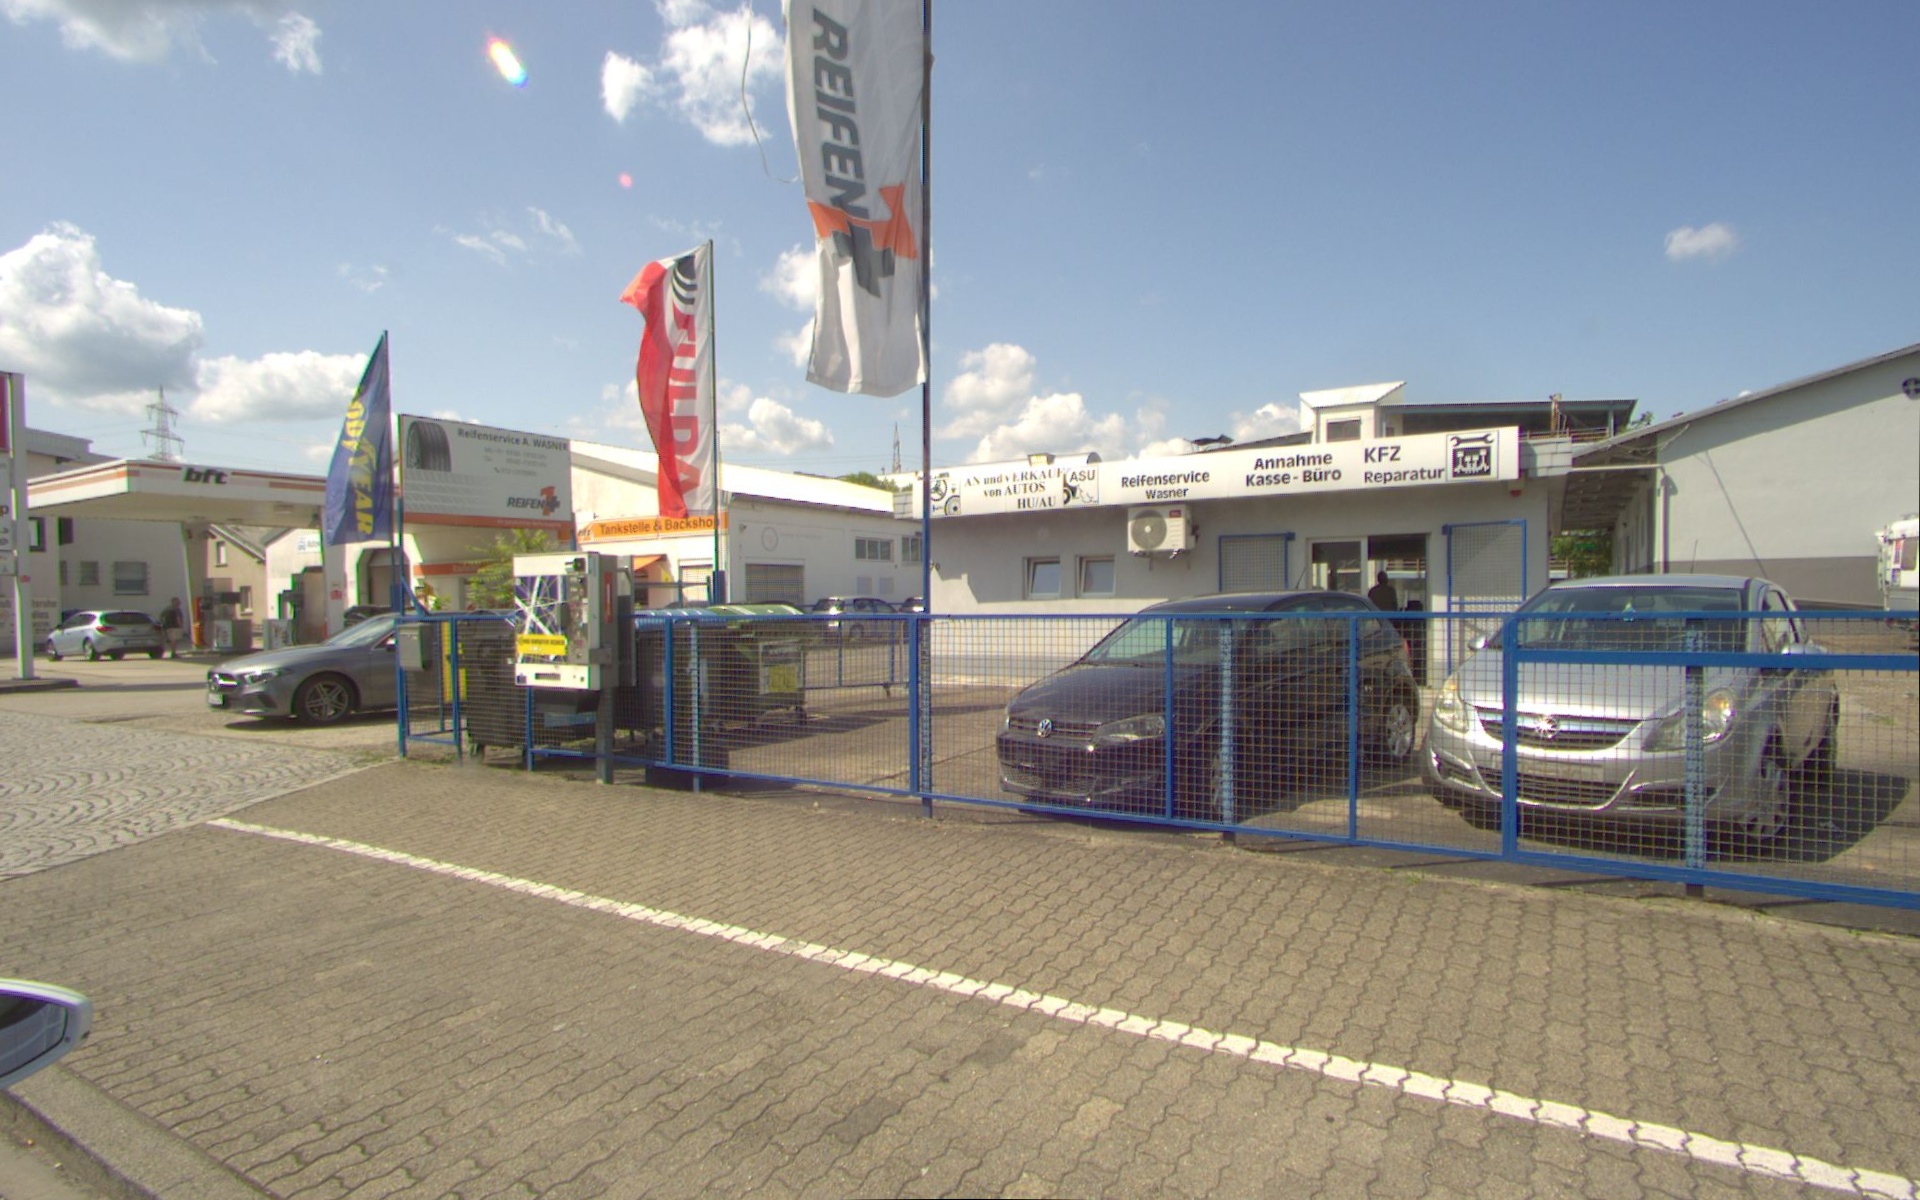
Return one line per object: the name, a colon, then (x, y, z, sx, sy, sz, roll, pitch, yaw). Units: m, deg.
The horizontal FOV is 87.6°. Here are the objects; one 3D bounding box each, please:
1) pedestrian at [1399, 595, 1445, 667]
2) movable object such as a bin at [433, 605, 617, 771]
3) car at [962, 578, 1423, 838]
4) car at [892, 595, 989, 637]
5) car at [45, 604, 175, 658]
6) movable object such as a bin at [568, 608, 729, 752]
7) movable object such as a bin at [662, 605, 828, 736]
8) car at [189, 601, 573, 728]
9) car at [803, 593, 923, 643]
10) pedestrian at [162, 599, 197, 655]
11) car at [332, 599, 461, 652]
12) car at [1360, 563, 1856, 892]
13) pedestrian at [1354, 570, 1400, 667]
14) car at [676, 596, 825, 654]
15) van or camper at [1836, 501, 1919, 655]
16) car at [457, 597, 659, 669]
pedestrian: (8.046, 0.532, 17.437, 0.654, 1.225, 0.563, 0, 1, 34)
movable object such as a bin: (-4.160, 0.785, 9.606, 1.225, 1.455, 1.106, 0, 1, 31)
car: (1.897, 0.601, 7.508, 3.655, 1.472, 1.625, -1, 0, -43)
car: (-0.639, 0.533, 35.734, 1.564, 1.385, 3.860, 0, 0, 33)
car: (-25.736, 0.899, 30.306, 3.776, 1.523, 1.803, 0, 0, 30)
movable object such as a bin: (-3.327, 0.802, 10.736, 1.225, 1.415, 1.106, 0, 1, 31)
movable object such as a bin: (-2.534, 0.782, 11.901, 1.318, 1.414, 1.400, 0, 1, 31)
car: (-7.711, 0.755, 13.743, 1.652, 1.434, 4.257, 0, 0, 37)
car: (-3.014, 0.525, 32.049, 1.564, 1.482, 4.187, 0, 0, 33)
pedestrian: (-23.776, 0.799, 30.515, 0.698, 1.679, 0.546, -1, 1, -22)
car: (-17.309, 0.746, 30.723, 3.777, 1.523, 1.803, 0, 0, 31)
car: (4.272, 0.560, 6.378, 3.729, 1.472, 1.757, -1, 0, -42)
pedestrian: (7.352, 0.319, 17.644, 0.654, 1.671, 0.563, 0, 1, 34)
car: (-5.718, 0.640, 27.818, 1.564, 1.482, 4.187, 0, 0, 33)
van or camper: (21.015, -0.454, 19.526, 5.571, 3.005, 2.264, 0, 1, 31)
car: (-9.165, 0.687, 23.162, 1.564, 1.482, 4.187, 0, 0, 33)
